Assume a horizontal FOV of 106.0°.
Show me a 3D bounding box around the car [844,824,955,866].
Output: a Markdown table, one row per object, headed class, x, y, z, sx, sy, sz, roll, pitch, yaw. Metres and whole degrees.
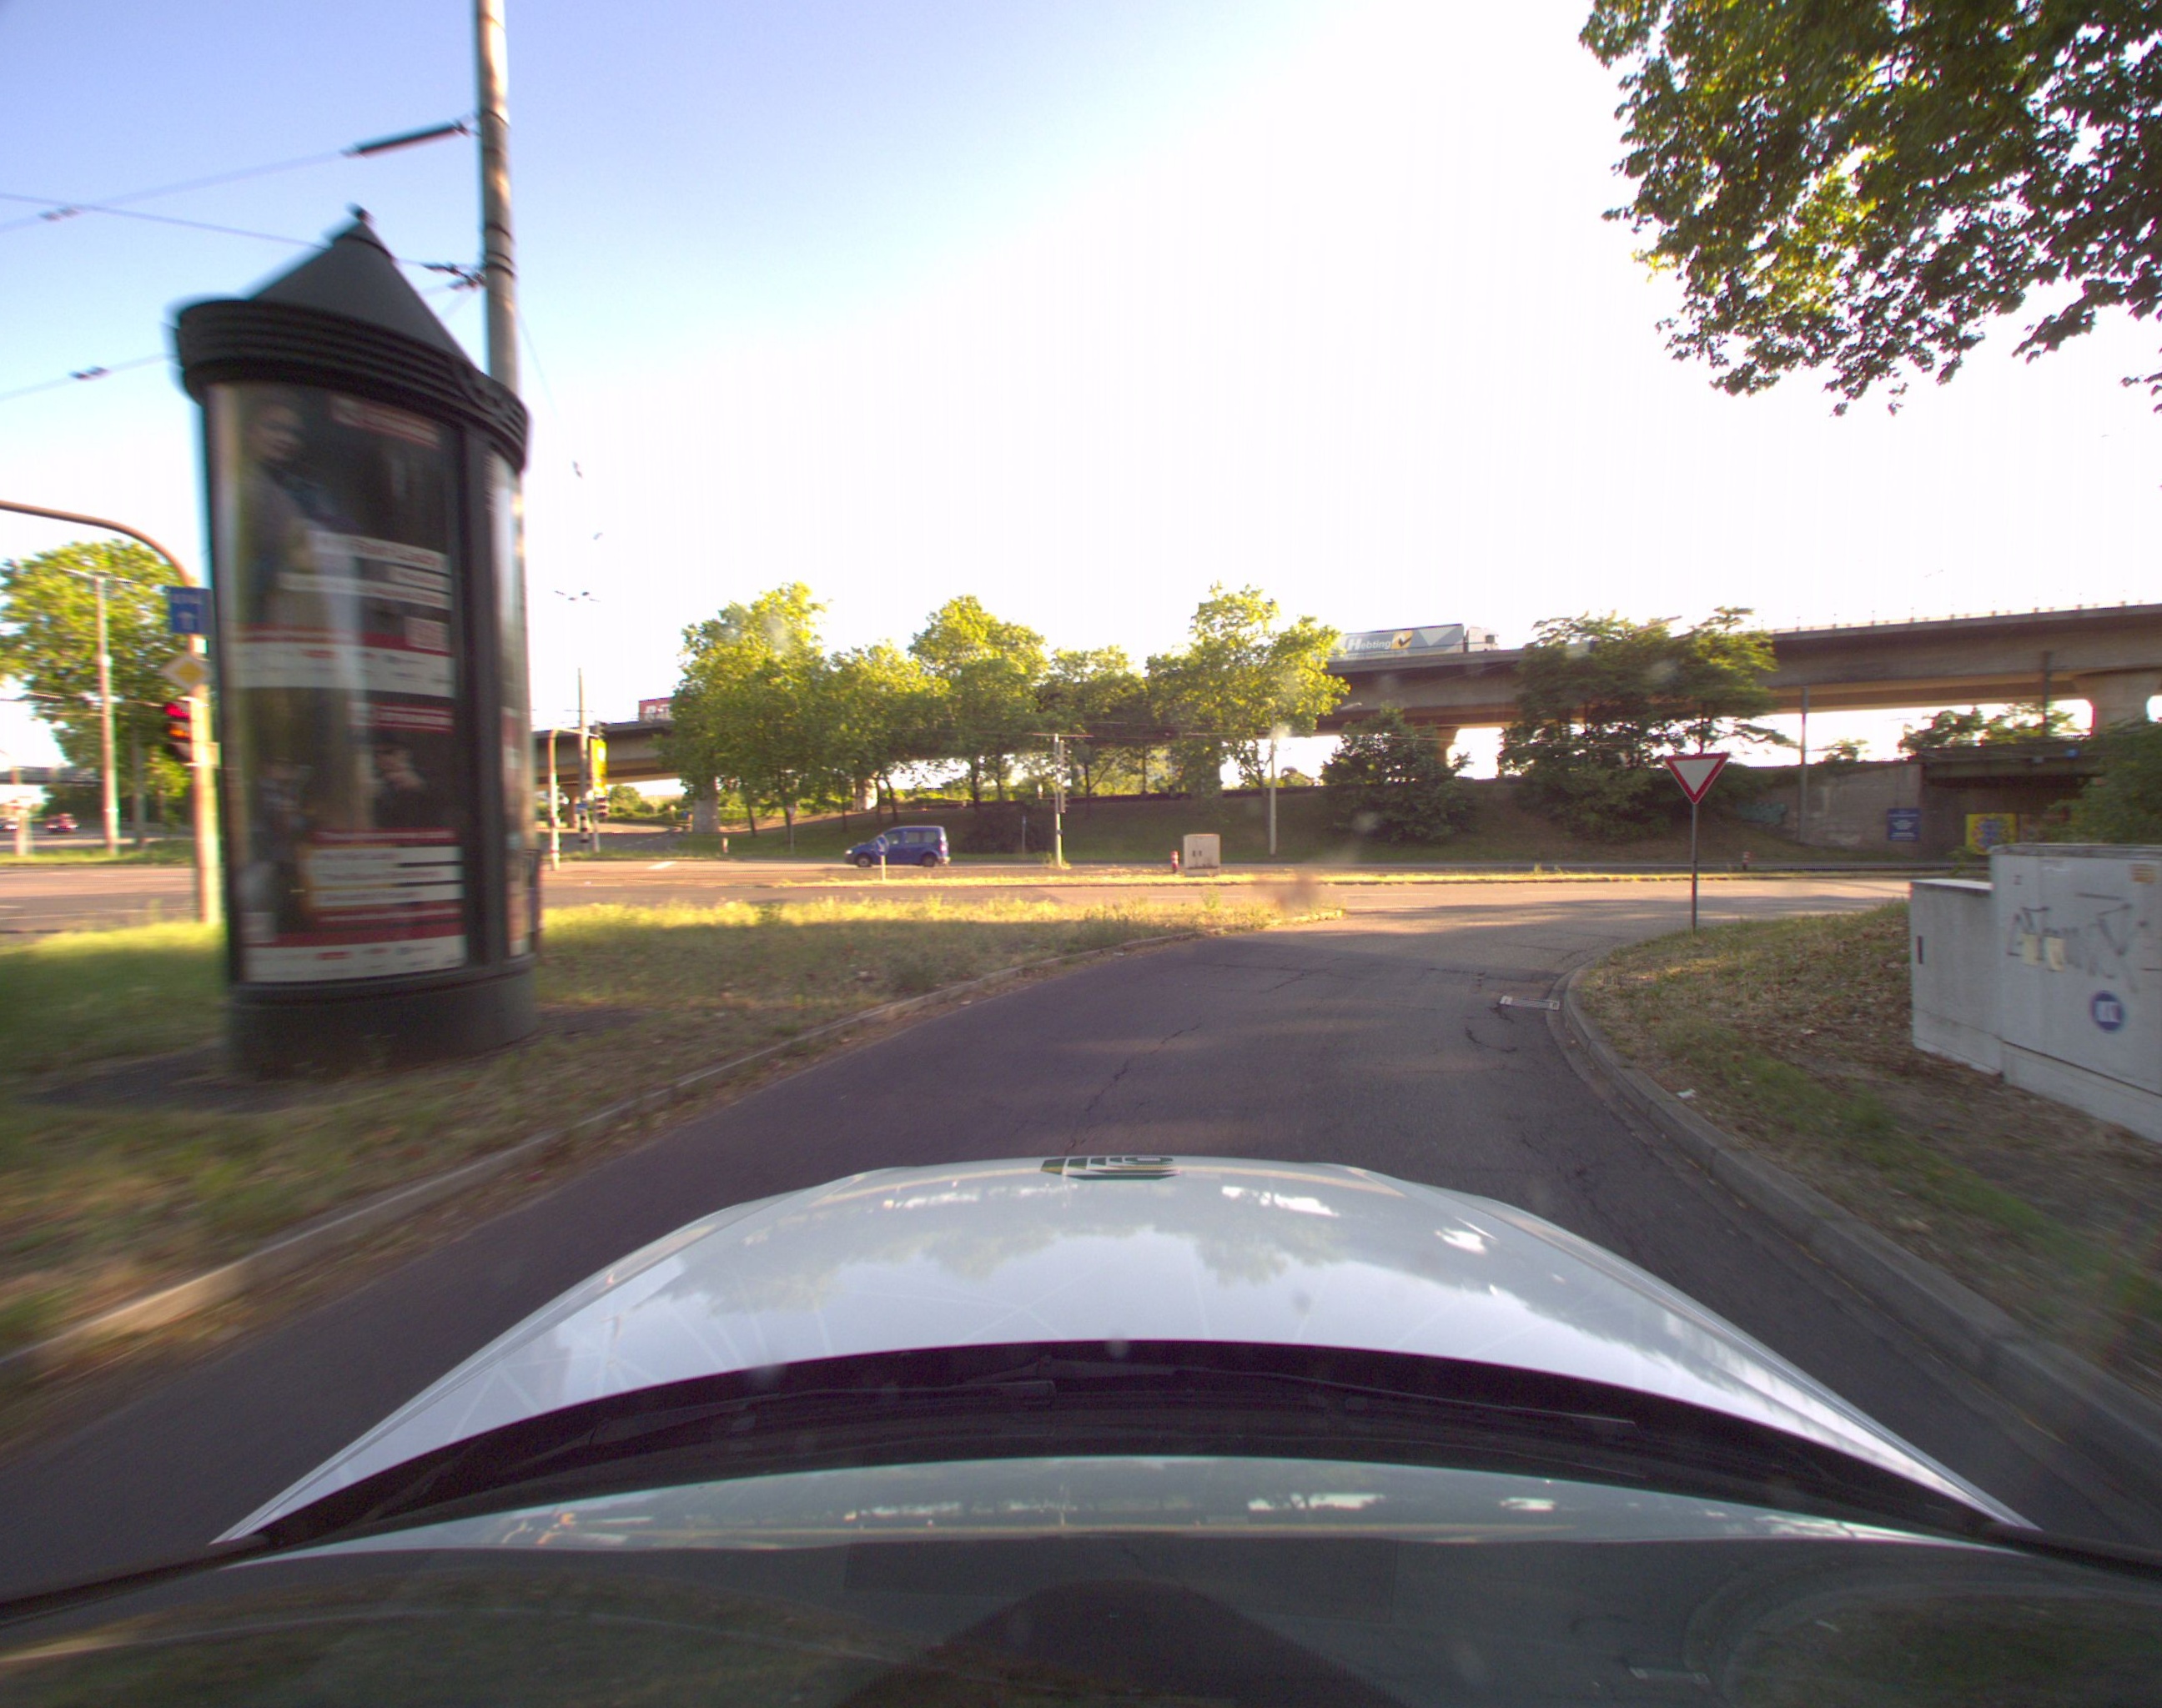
| class | x | y | z | sx | sy | sz | roll | pitch | yaw |
| --- | --- | --- | --- | --- | --- | --- | --- | --- | --- |
| car | -7.692 | -0.383 | 34.878 | 4.505 | 1.692 | 1.993 | 0 | 1 | -11 |
